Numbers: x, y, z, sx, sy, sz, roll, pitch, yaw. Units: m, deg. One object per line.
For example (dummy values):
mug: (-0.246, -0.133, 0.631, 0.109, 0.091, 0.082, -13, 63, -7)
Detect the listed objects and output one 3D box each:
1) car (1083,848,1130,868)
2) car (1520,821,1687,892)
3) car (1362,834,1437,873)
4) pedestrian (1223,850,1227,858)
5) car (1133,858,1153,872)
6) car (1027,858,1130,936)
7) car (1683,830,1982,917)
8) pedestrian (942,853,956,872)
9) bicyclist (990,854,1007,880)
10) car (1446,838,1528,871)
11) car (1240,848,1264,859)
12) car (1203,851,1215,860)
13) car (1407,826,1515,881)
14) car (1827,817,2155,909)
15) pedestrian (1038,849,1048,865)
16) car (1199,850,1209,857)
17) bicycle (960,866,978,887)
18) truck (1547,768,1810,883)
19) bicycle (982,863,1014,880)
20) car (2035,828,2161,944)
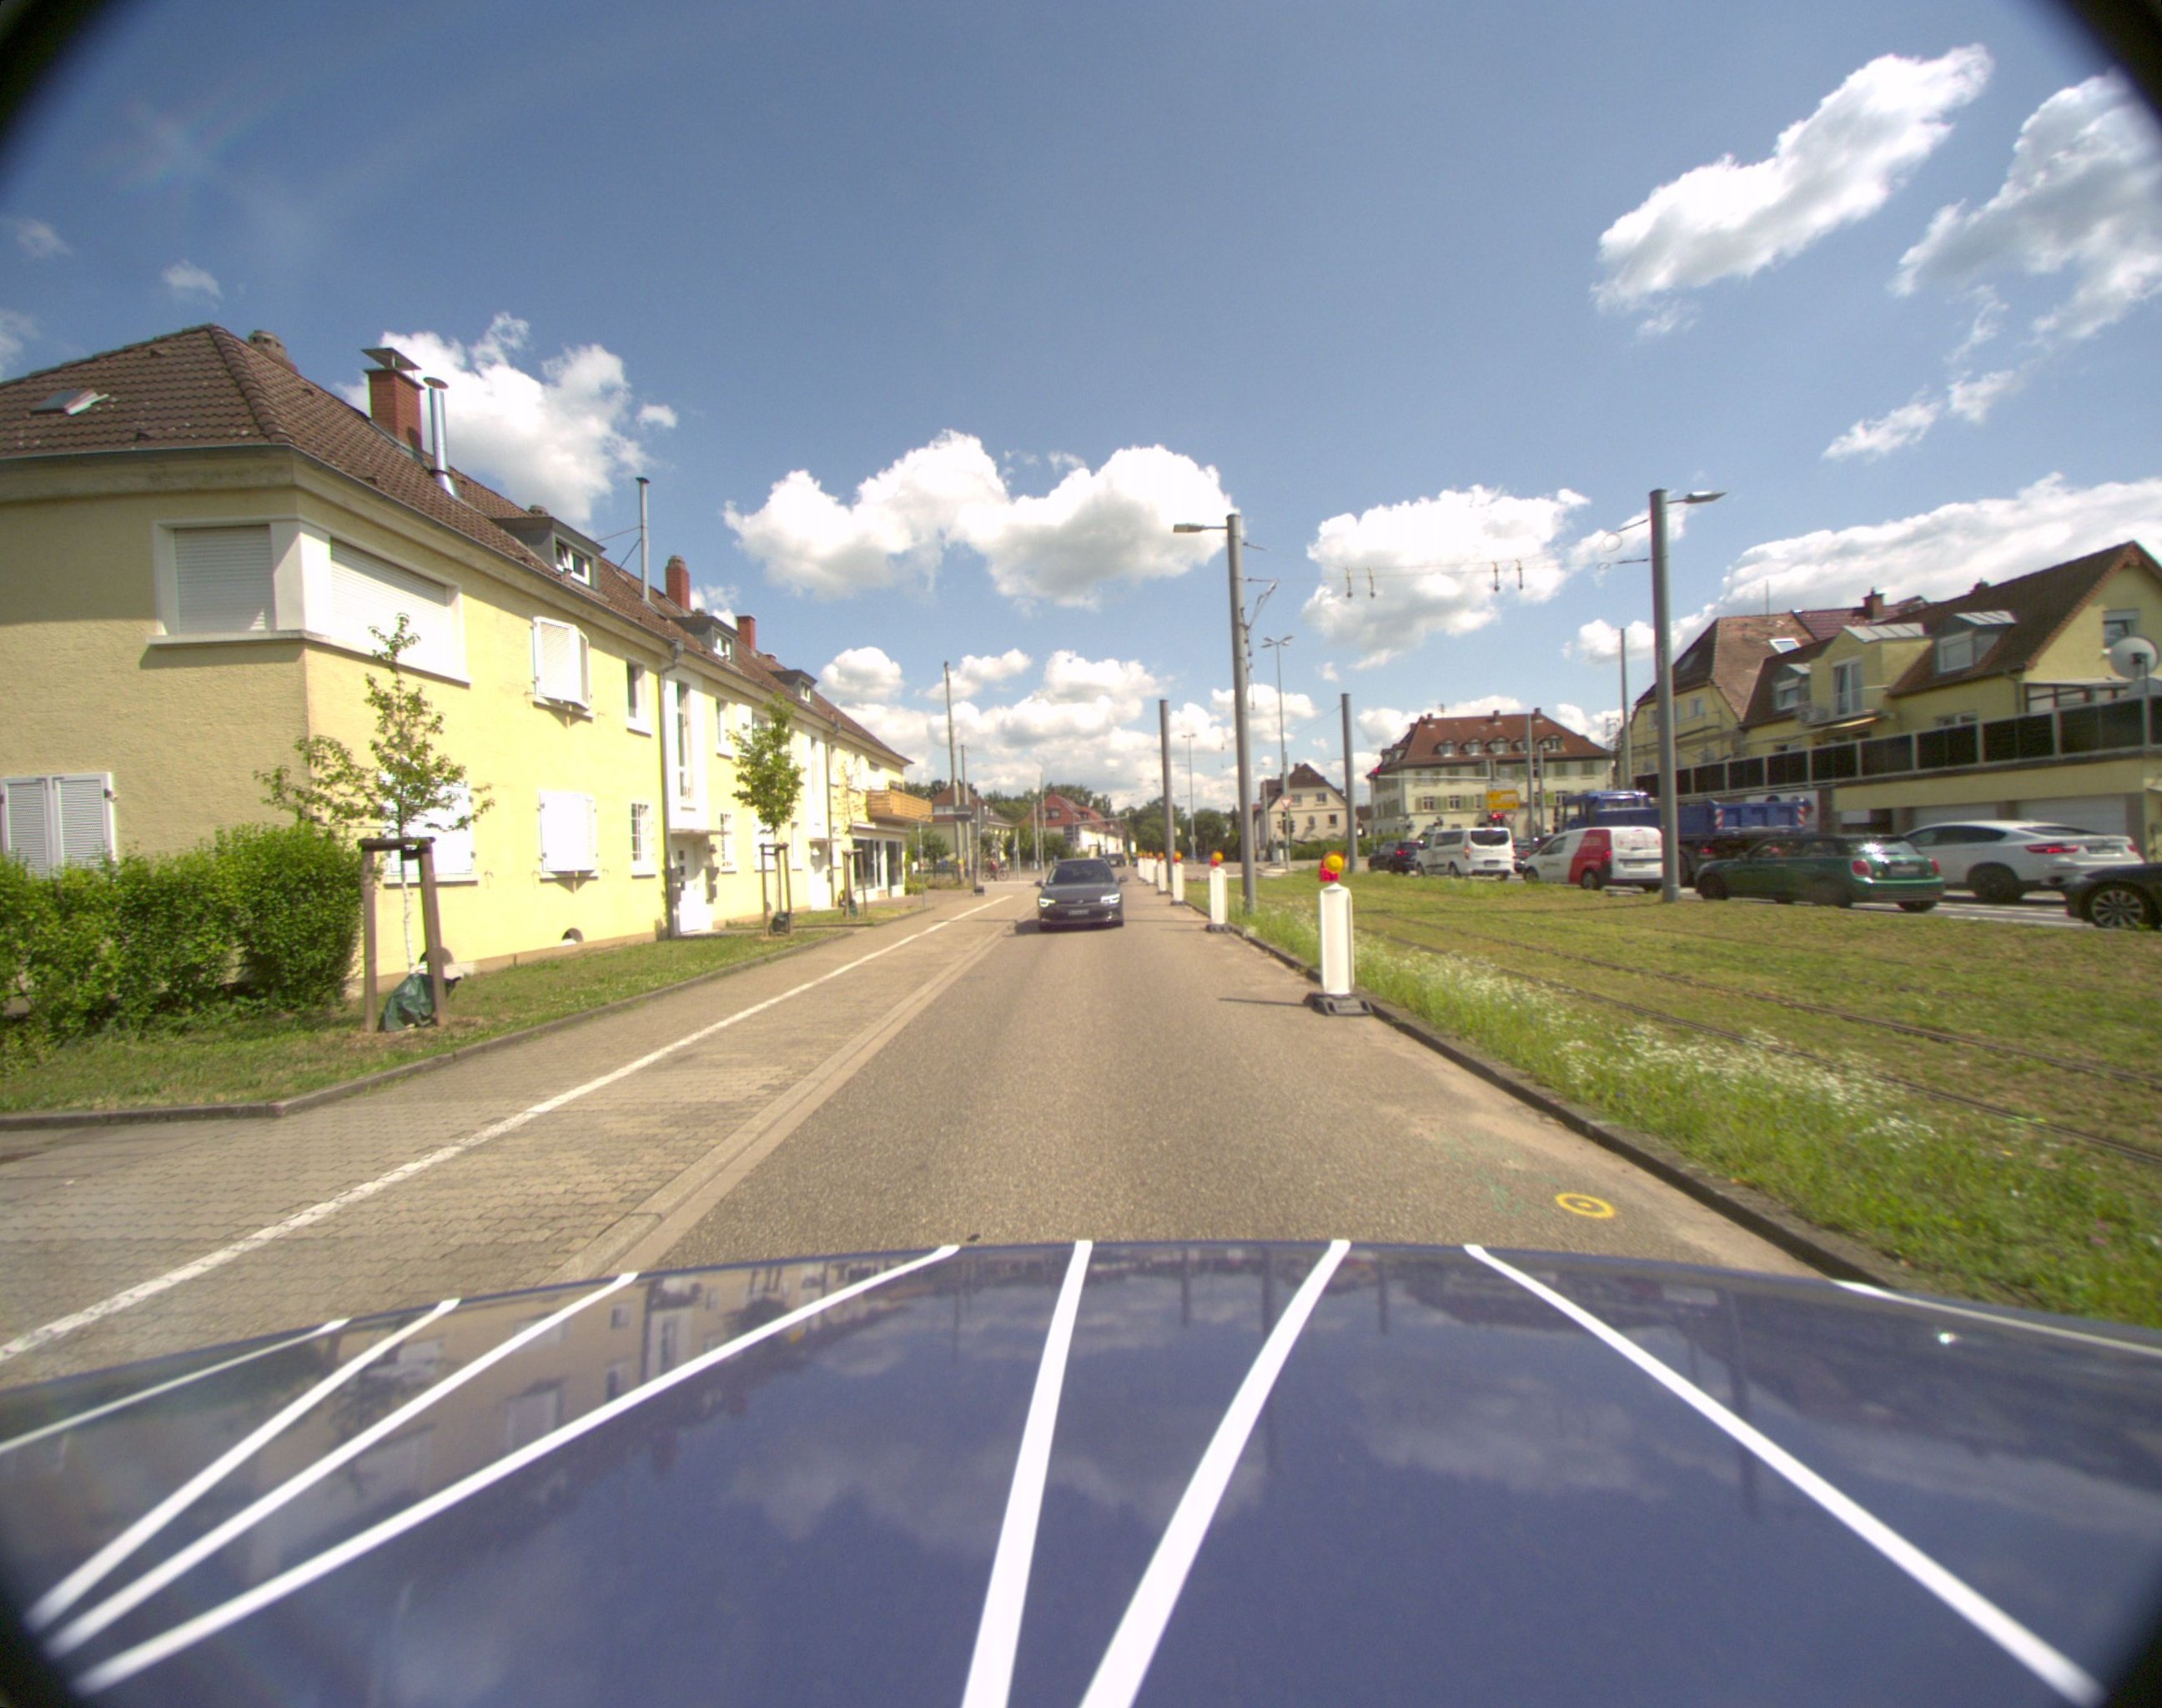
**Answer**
car: (2.695, 0.445, 80.083, 4.881, 1.754, 1.773, -5, 2, -37)
car: (14.812, 0.047, 21.897, 1.737, 1.772, 4.404, -2, 0, 0)
car: (15.116, -0.001, 36.296, 1.791, 1.710, 4.442, -2, 0, 2)
pedestrian: (25.902, -0.021, 136.255, 0.631, 1.526, 0.618, -2, 0, 10)
car: (7.111, 1.228, 86.432, 1.708, 1.453, 3.158, -2, 0, 15)
car: (0.090, 0.860, 17.210, 1.765, 1.465, 4.689, -2, 0, 6)
car: (14.380, 0.321, 14.939, 1.920, 1.410, 4.000, -2, 0, 0)
pedestrian: (-12.895, 0.828, 74.177, 1.031, 1.724, 1.041, -2, 0, 4)
bicyclist: (-5.626, 0.877, 51.600, 0.961, 1.765, 0.718, -3, 1, -18)
car: (19.720, 0.002, 37.130, 1.832, 1.478, 4.334, -2, 0, 3)
car: (24.414, -0.089, 108.489, 1.757, 1.378, 4.110, -2, 0, 38)
car: (20.177, 0.242, 119.773, 1.708, 1.453, 3.157, -2, 0, 8)
car: (14.764, -0.032, 29.859, 1.819, 1.910, 4.748, -2, 0, 0)
car: (19.140, 0.154, 16.385, 1.848, 1.650, 4.438, -2, 0, 2)
pedestrian: (-4.286, 0.375, 85.997, 0.939, 1.757, 0.591, -2, 0, -32)
car: (22.210, -0.073, 137.200, 1.708, 1.288, 3.921, -2, 0, 11)
bicycle: (-6.328, 1.261, 42.854, 0.595, 1.090, 2.273, -3, 1, -17)
truck: (19.369, -0.830, 25.442, 2.775, 3.170, 7.581, -2, 1, 0)
bicycle: (-5.606, 1.169, 51.307, 2.035, 1.095, 0.714, -3, 1, -19)
car: (14.237, 0.380, 8.140, 1.848, 1.405, 4.916, -2, 0, 0)
